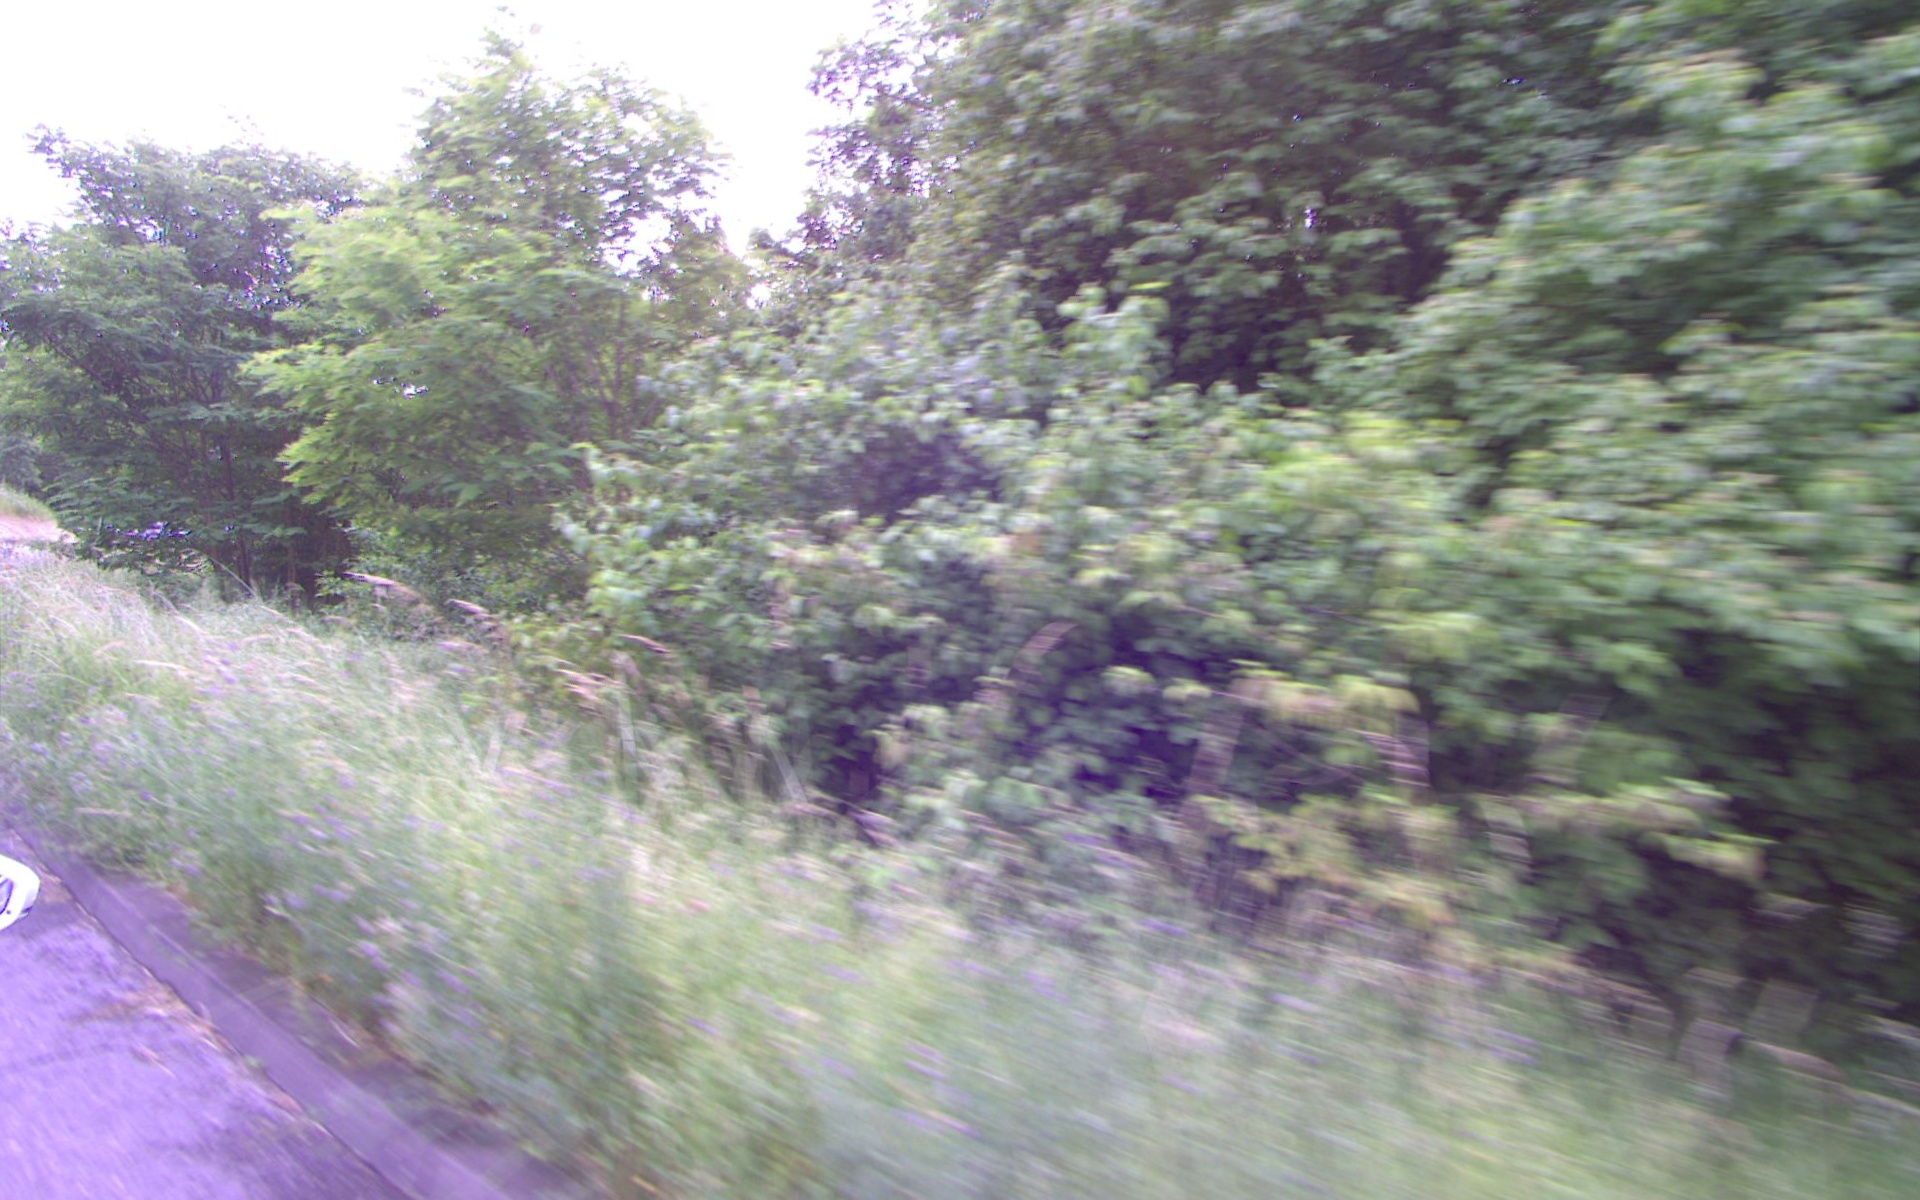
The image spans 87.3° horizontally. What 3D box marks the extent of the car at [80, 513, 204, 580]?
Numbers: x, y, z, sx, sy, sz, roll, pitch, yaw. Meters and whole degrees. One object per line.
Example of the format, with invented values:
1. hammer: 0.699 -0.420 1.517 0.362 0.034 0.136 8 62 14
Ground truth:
1. car: -22.917 -1.500 28.340 1.886 1.484 3.970 9 -1 -29

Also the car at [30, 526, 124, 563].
1. car: -52.555 -3.292 59.944 3.962 1.836 1.856 3 -1 2
